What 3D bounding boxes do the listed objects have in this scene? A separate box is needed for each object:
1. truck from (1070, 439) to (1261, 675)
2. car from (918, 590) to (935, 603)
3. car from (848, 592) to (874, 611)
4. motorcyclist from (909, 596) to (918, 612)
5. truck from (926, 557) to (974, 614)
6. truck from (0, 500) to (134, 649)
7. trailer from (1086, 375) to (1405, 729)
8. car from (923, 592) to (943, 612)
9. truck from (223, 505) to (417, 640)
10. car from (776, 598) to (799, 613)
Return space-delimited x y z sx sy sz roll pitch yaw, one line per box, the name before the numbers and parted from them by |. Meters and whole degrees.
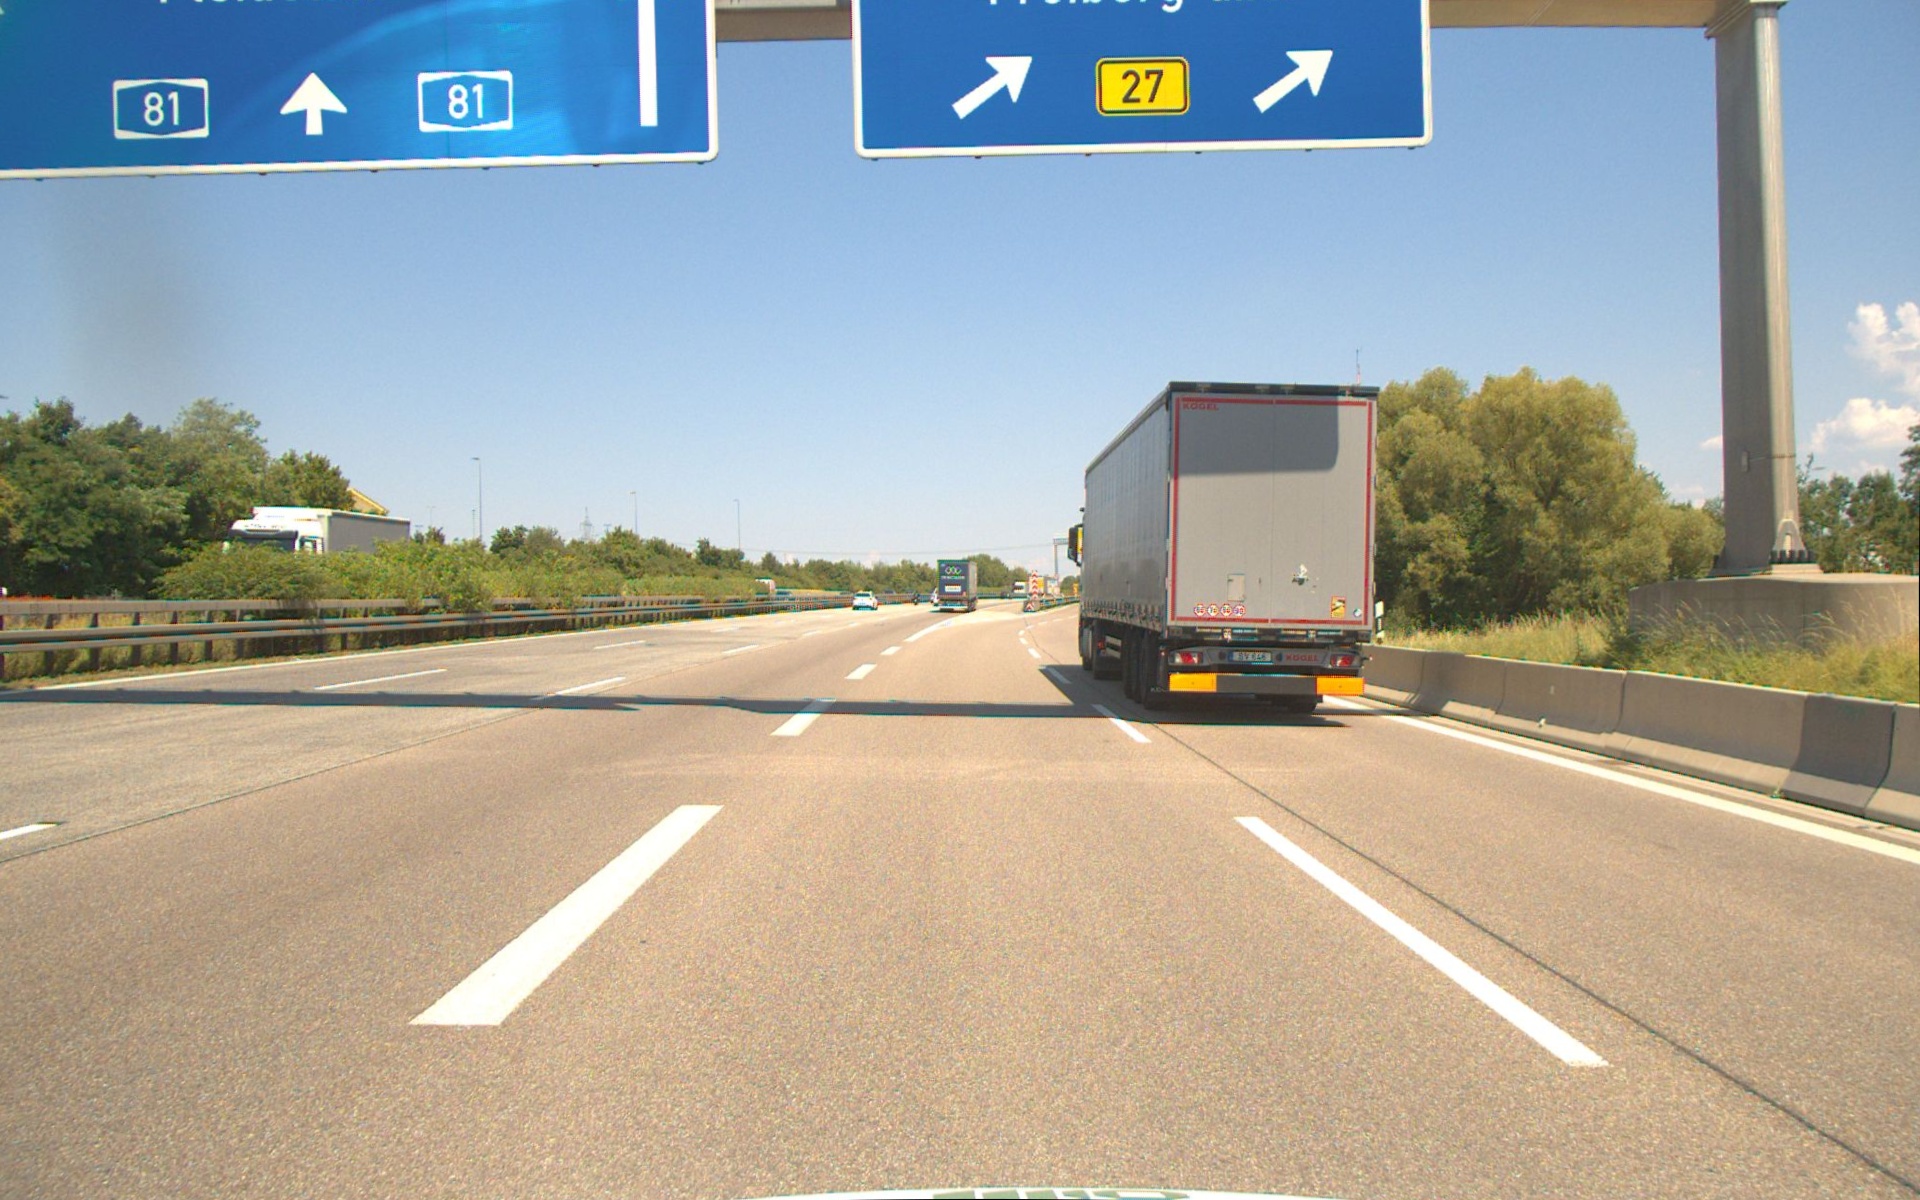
truck | 3.829 -0.841 32.555 2.868 4.085 7.585 0 1 0
car | -4.174 -0.447 207.164 1.837 1.466 5.126 0 -1 2
car | -8.063 0.124 134.726 1.745 1.466 4.669 0 0 1
motorcyclist | -5.000 0.469 178.404 0.875 1.625 1.299 0 -3 0
truck | -0.817 -1.128 135.440 3.671 4.345 14.493 1 0 -1
truck | -26.369 -0.682 43.771 2.696 3.860 12.329 1 0 0
trailer | 3.771 -0.707 25.178 2.868 4.085 12.040 0 1 0
car | -2.813 0.229 174.533 1.891 1.884 4.692 -1 -2 1
truck | -22.288 -0.903 58.384 2.696 4.281 10.403 1 0 0
car | -17.173 0.540 164.799 1.745 1.466 4.669 0 0 1
